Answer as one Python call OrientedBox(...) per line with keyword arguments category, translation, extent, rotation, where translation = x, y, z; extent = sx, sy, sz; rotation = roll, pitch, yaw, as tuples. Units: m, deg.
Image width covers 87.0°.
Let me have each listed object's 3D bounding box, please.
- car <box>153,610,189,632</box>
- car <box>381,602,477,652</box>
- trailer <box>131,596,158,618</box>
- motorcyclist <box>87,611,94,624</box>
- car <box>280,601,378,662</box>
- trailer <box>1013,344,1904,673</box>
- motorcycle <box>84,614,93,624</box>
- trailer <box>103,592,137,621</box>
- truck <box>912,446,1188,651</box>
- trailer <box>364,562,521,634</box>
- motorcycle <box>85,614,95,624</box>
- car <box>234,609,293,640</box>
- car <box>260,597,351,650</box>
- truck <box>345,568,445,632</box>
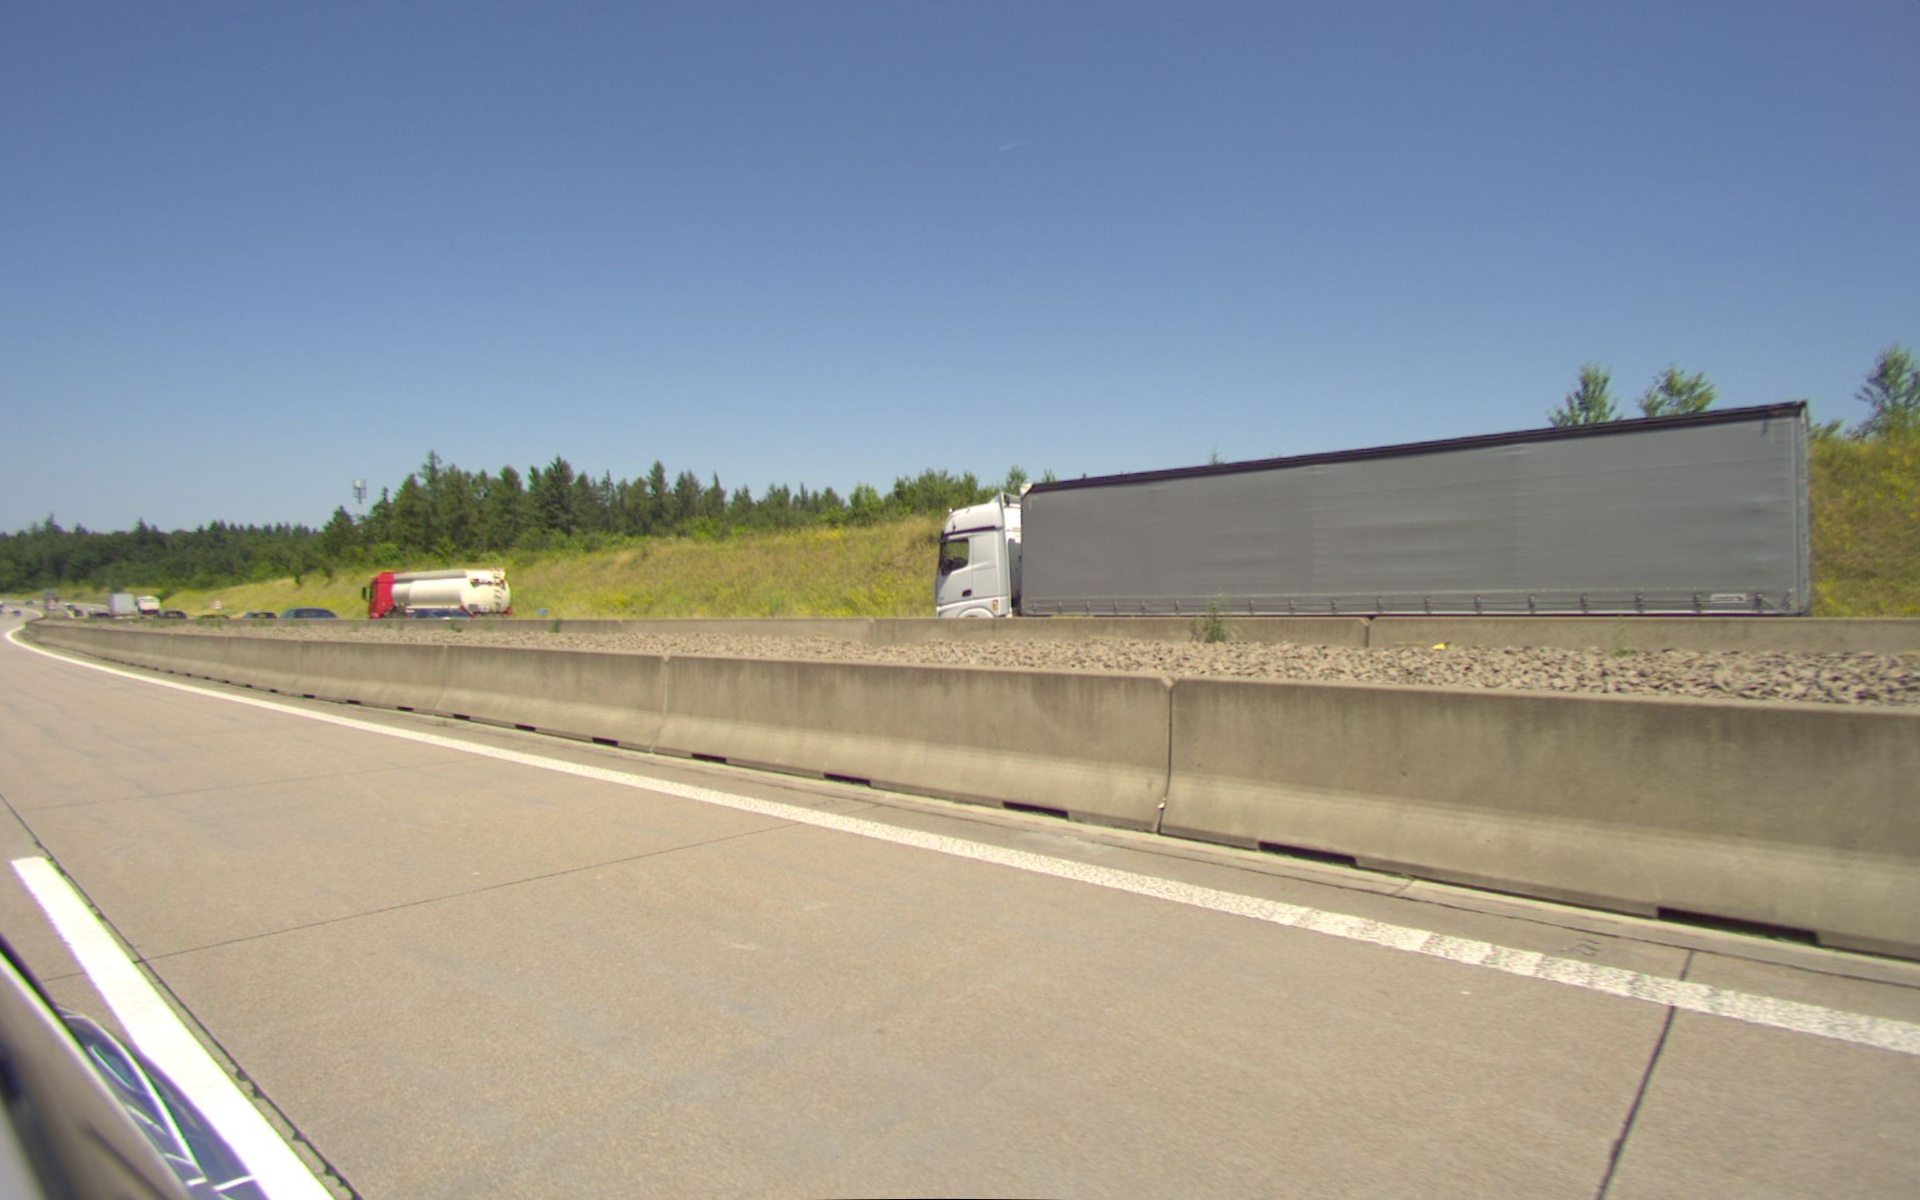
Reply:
OrientedBox(category="car", translation=(-66.786, 1.783, 85.679), extent=(4.000, 1.810, 1.800), rotation=(-1, 0, 43))
OrientedBox(category="car", translation=(-20.217, 1.006, 38.462), extent=(3.999, 1.785, 1.972), rotation=(-1, -1, 42))
OrientedBox(category="trailer", translation=(-133.302, 1.091, 165.352), extent=(2.693, 3.438, 8.966), rotation=(-3, 2, -42))
OrientedBox(category="motorcyclist", translation=(-135.284, 2.735, 157.426), extent=(0.809, 1.888, 1.493), rotation=(-1, 0, -43))
OrientedBox(category="car", translation=(-23.188, 1.124, 37.144), extent=(3.999, 2.028, 1.973), rotation=(-1, 2, 42))
OrientedBox(category="trailer", translation=(7.585, -1.160, 18.789), extent=(14.381, 4.199, 2.903), rotation=(-1, 2, 41))
OrientedBox(category="motorcycle", translation=(-118.435, 2.596, 137.462), extent=(0.815, 1.382, 2.359), rotation=(-1, 0, -43))
OrientedBox(category="trailer", translation=(-125.800, 0.956, 151.440), extent=(3.123, 3.961, 13.883), rotation=(-3, 2, -42))
OrientedBox(category="truck", translation=(2.012, -1.094, 23.725), extent=(5.758, 4.199, 2.903), rotation=(-1, 2, 41))
OrientedBox(category="trailer", translation=(-26.352, -0.070, 51.119), extent=(11.828, 3.238, 2.903), rotation=(-1, 2, 42))
OrientedBox(category="motorcycle", translation=(-135.372, 2.911, 157.483), extent=(0.996, 1.561, 2.486), rotation=(-1, 0, -43))
OrientedBox(category="car", translation=(-40.638, 1.422, 59.014), extent=(4.000, 1.730, 1.972), rotation=(-1, -1, 43))
OrientedBox(category="car", translation=(-25.407, 0.898, 39.239), extent=(4.037, 1.918, 1.972), rotation=(-1, -1, 42))
OrientedBox(category="truck", translation=(-30.793, -0.019, 55.088), extent=(5.903, 3.238, 2.903), rotation=(-1, 2, 42))
